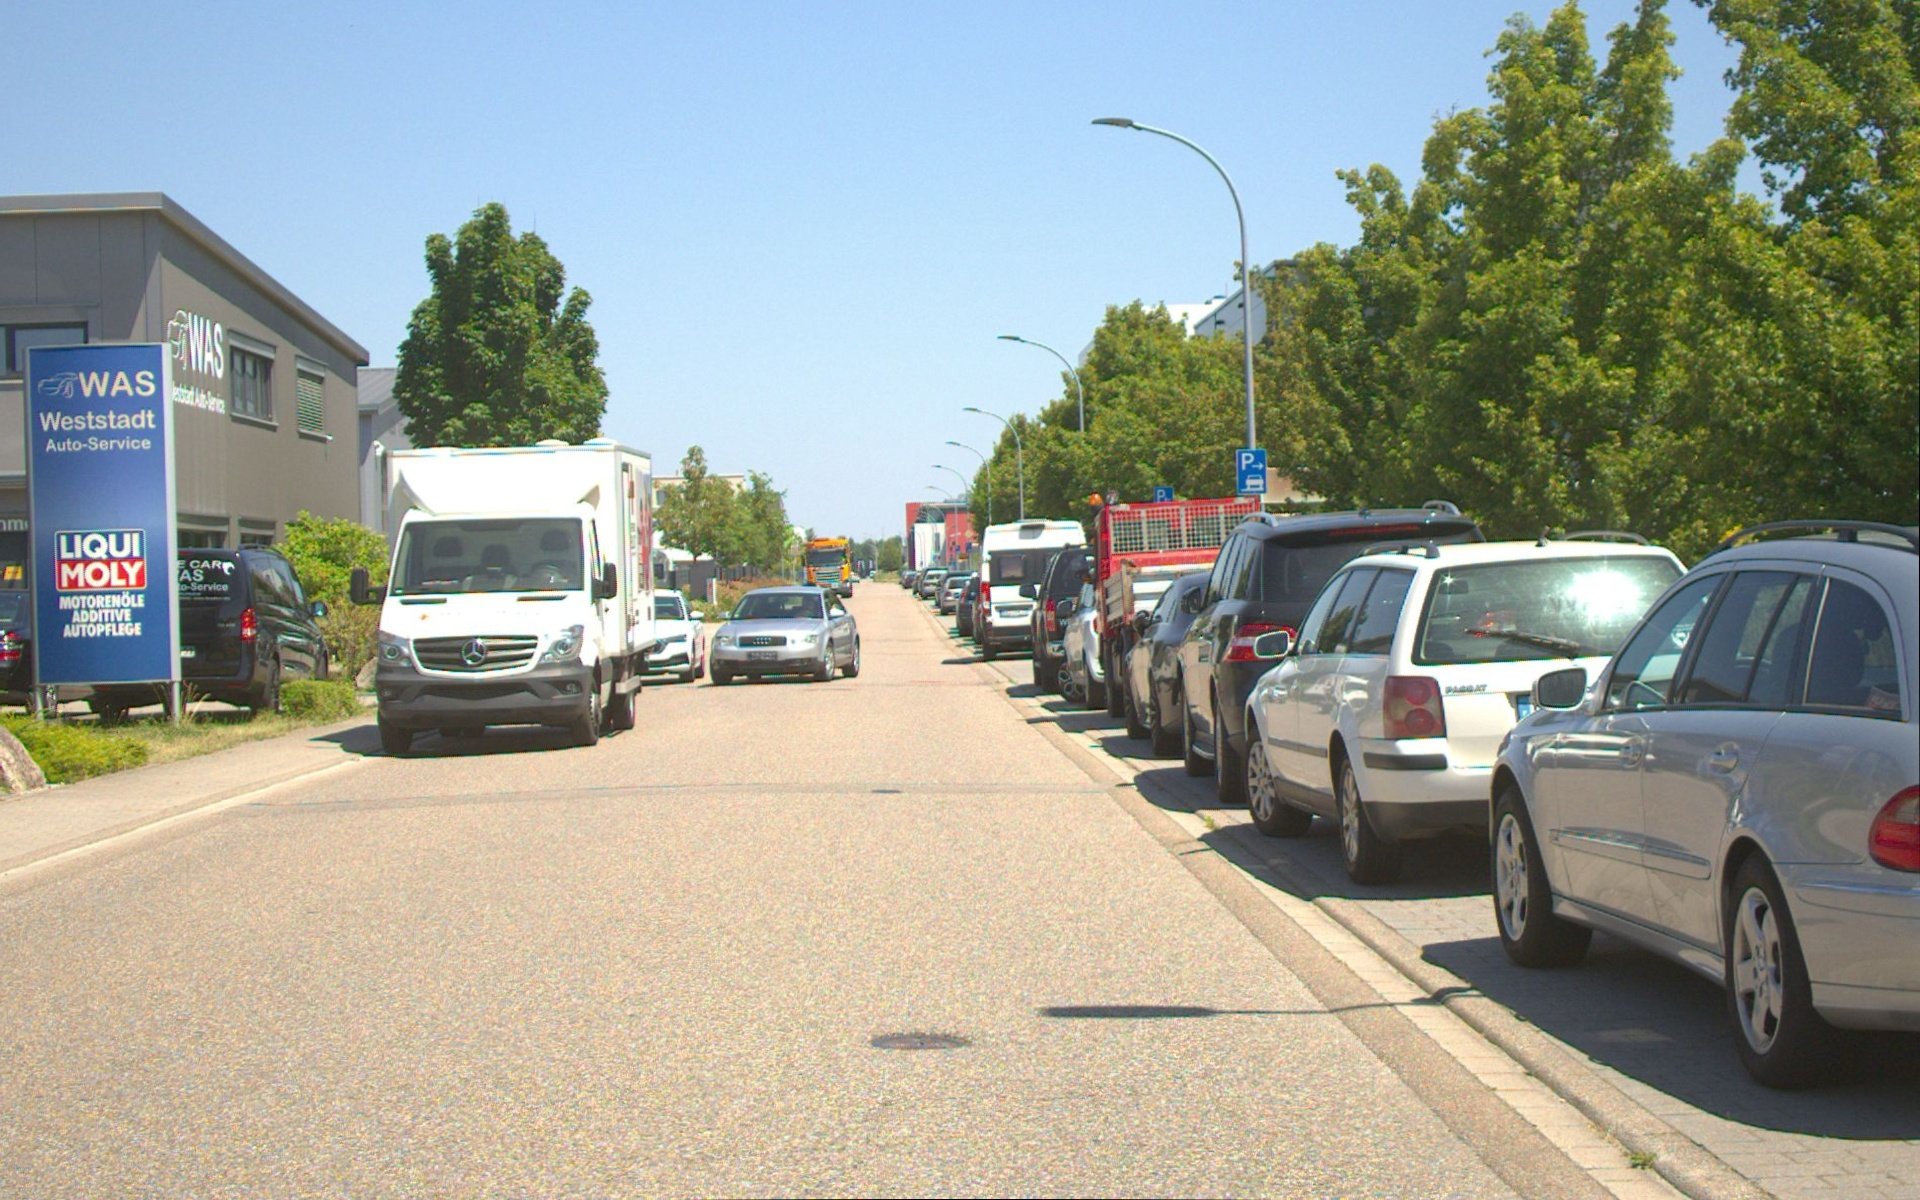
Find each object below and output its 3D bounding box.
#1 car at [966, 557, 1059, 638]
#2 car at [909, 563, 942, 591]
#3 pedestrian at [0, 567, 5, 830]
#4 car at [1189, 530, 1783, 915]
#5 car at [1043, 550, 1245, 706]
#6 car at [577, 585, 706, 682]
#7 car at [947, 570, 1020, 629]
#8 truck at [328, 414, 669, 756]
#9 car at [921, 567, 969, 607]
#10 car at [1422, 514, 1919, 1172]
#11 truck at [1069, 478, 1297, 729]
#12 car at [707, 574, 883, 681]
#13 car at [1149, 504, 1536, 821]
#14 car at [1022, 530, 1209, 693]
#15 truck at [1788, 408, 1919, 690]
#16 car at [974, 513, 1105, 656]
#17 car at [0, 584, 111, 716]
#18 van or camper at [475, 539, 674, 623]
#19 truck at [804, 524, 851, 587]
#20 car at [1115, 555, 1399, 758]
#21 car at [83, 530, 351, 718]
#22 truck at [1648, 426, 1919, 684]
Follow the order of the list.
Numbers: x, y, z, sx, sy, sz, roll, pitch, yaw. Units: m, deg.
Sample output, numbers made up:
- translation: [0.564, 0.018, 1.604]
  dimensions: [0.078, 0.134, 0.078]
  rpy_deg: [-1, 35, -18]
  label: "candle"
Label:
- translation: [1.222, -0.063, 82.155]
  dimensions: [1.993, 1.819, 4.354]
  rpy_deg: [-2, 0, -2]
  label: "car"
- translation: [-1.797, -1.196, 178.421]
  dimensions: [1.585, 1.405, 3.500]
  rpy_deg: [-2, 1, -1]
  label: "car"
- translation: [-6.168, 0.587, 20.183]
  dimensions: [0.899, 1.569, 0.785]
  rpy_deg: [1, 1, 0]
  label: "pedestrian"
- translation: [2.316, 0.470, 16.441]
  dimensions: [1.713, 1.478, 4.774]
  rpy_deg: [-3, 1, -4]
  label: "car"
- translation: [1.963, 0.280, 37.766]
  dimensions: [1.738, 1.525, 4.000]
  rpy_deg: [-3, 0, -3]
  label: "car"
- translation: [-5.024, 0.502, 54.712]
  dimensions: [1.730, 1.453, 4.492]
  rpy_deg: [-1, 0, -1]
  label: "car"
- translation: [0.667, -0.021, 94.402]
  dimensions: [1.709, 1.499, 4.705]
  rpy_deg: [-2, 0, 4]
  label: "car"
- translation: [-4.300, -0.143, 33.230]
  dimensions: [2.361, 2.850, 6.415]
  rpy_deg: [-3, 0, -1]
  label: "truck"
- translation: [-0.579, -0.502, 131.191]
  dimensions: [1.718, 1.445, 3.646]
  rpy_deg: [-2, 0, -1]
  label: "car"
- translation: [2.812, 0.500, 10.337]
  dimensions: [1.804, 1.478, 4.774]
  rpy_deg: [-3, 1, -4]
  label: "car"
- translation: [2.088, 0.017, 33.278]
  dimensions: [1.679, 2.174, 4.390]
  rpy_deg: [-3, 0, -2]
  label: "truck"
- translation: [-2.439, 0.385, 51.885]
  dimensions: [1.783, 1.417, 4.412]
  rpy_deg: [-3, 0, 8]
  label: "car"
- translation: [2.325, 0.321, 22.088]
  dimensions: [1.811, 1.719, 4.774]
  rpy_deg: [-3, 1, -1]
  label: "car"
- translation: [1.920, 0.126, 43.951]
  dimensions: [1.993, 1.878, 5.156]
  rpy_deg: [-3, 0, -1]
  label: "car"
- translation: [12.058, -0.609, 36.396]
  dimensions: [5.901, 2.862, 2.307]
  rpy_deg: [-2, 0, -4]
  label: "truck"
- translation: [1.468, -0.305, 65.058]
  dimensions: [2.267, 2.489, 6.152]
  rpy_deg: [-2, 0, 1]
  label: "car"
- translation: [-11.217, 0.529, 39.351]
  dimensions: [1.931, 1.412, 4.769]
  rpy_deg: [0, 0, -1]
  label: "car"
- translation: [-14.884, -0.743, 133.077]
  dimensions: [7.384, 3.027, 2.790]
  rpy_deg: [-2, 1, -2]
  label: "van or camper"
- translation: [-7.647, -2.607, 199.573]
  dimensions: [2.448, 3.501, 8.273]
  rpy_deg: [-3, 1, -1]
  label: "truck"
- translation: [2.268, 0.398, 27.426]
  dimensions: [1.698, 1.378, 4.837]
  rpy_deg: [-3, 0, -1]
  label: "car"
- translation: [-8.299, 0.242, 38.872]
  dimensions: [1.993, 1.950, 5.218]
  rpy_deg: [-1, 0, -1]
  label: "car"
- translation: [11.422, -0.583, 41.014]
  dimensions: [5.821, 2.903, 2.415]
  rpy_deg: [-2, 0, -2]
  label: "truck"
